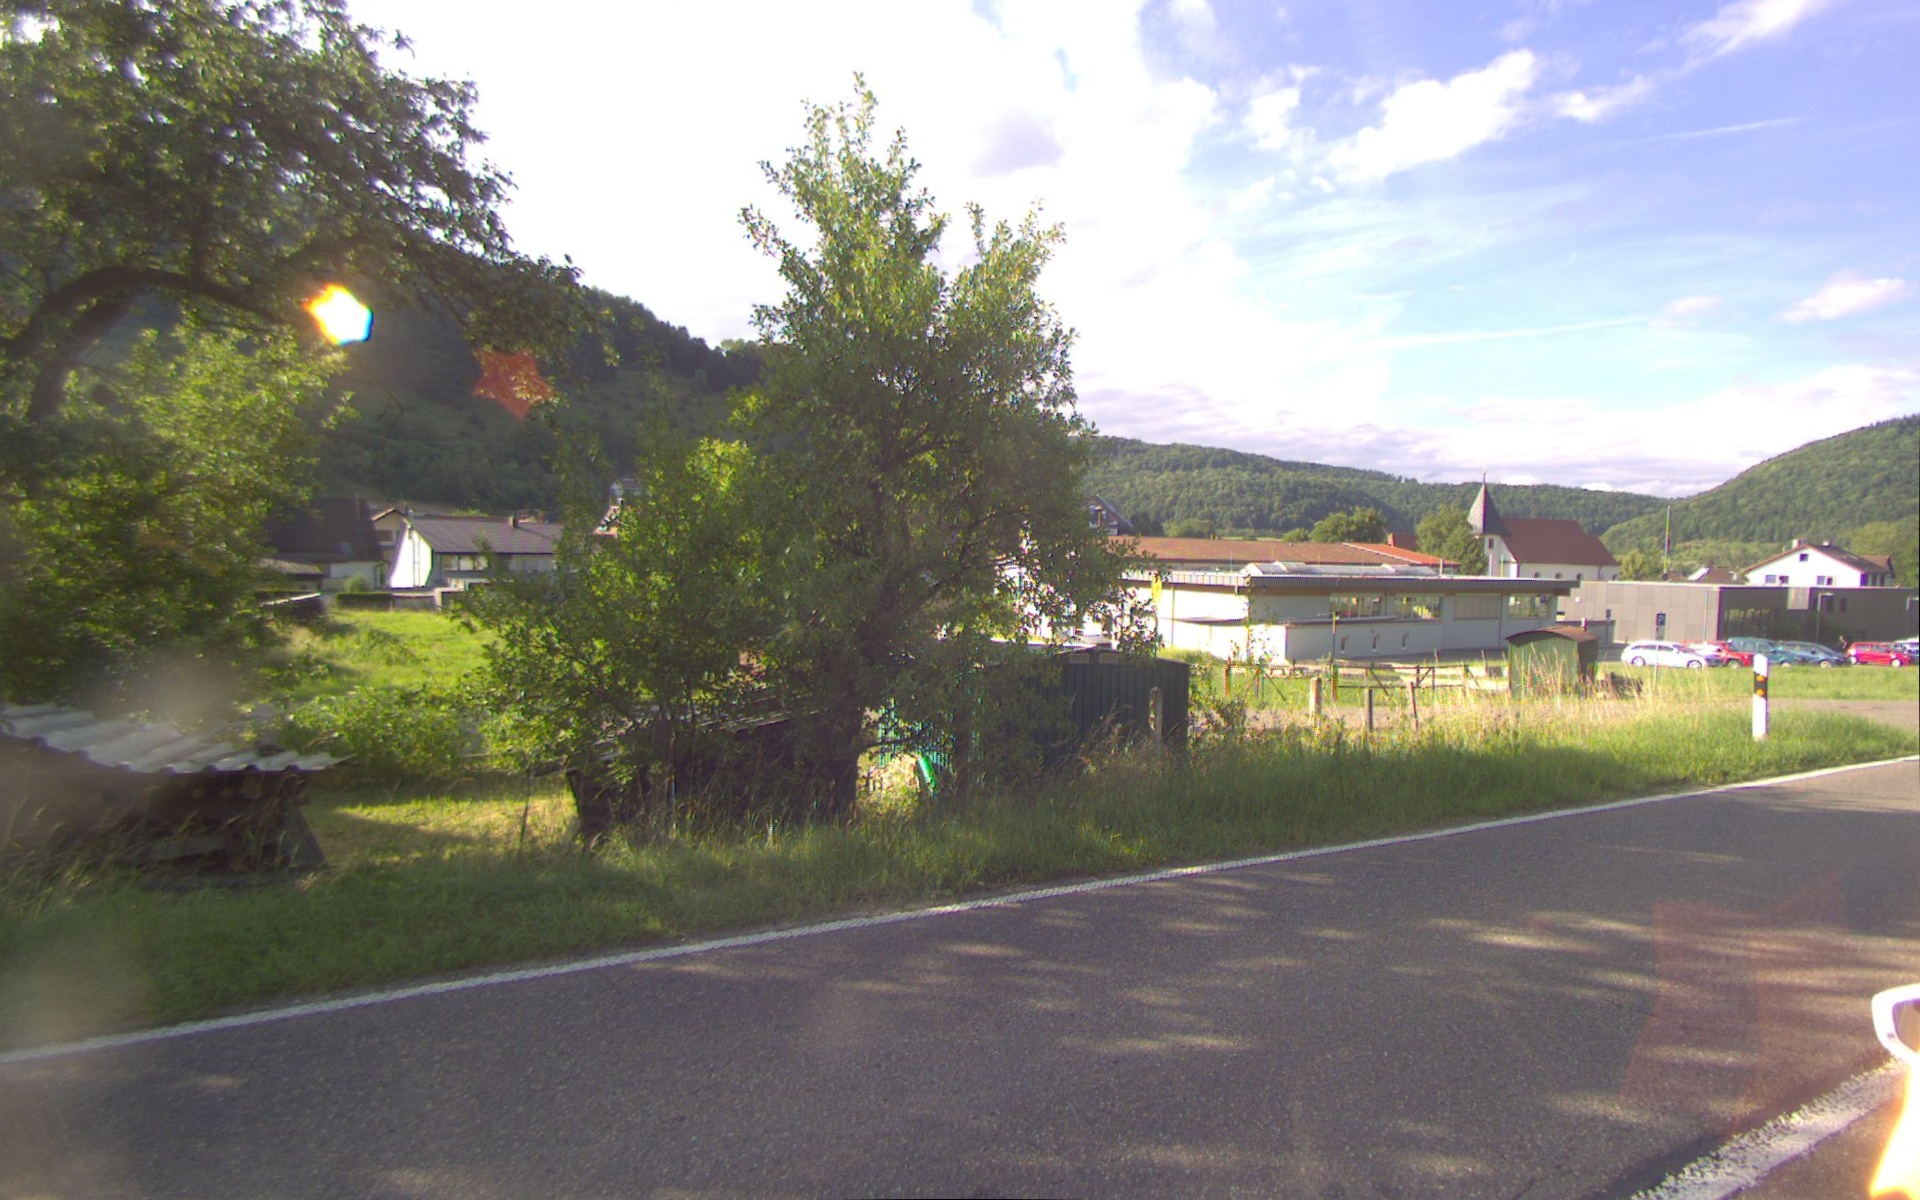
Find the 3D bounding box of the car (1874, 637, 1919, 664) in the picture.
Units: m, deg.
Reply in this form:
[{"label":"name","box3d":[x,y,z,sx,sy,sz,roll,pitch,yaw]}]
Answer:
[{"label":"car","box3d":[65.511,3.462,68.789,1.978,1.733,3.965,2,0,-32]}]

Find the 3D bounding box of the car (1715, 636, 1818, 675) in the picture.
[{"label":"car","box3d":[48.348,3.301,60.288,1.978,2.034,4.381,2,0,-32]}]

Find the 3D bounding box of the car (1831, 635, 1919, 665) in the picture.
[{"label":"car","box3d":[61.202,3.318,67.231,1.978,1.733,3.965,2,0,-32]}]

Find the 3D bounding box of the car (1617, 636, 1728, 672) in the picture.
[{"label":"car","box3d":[40.218,3.028,56.796,1.978,1.733,4.704,2,0,-32]}]

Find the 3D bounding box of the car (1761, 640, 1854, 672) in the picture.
[{"label":"car","box3d":[52.090,3.427,61.785,1.978,1.733,3.965,2,0,-32]}]

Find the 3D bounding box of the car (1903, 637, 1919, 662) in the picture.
[{"label":"car","box3d":[71.196,3.661,72.666,1.978,1.733,3.965,2,0,-32]}]

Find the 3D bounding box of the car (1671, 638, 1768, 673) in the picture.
[{"label":"car","box3d":[43.373,3.130,57.443,1.978,1.733,3.965,2,0,-32]}]

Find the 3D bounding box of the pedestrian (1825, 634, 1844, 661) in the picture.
[{"label":"pedestrian","box3d":[67.881,3.692,78.001,0.962,2.040,0.821,2,0,-31]}]

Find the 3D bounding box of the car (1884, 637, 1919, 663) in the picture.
[{"label":"car","box3d":[68.369,3.564,71.074,1.978,1.733,3.965,2,0,-32]}]
